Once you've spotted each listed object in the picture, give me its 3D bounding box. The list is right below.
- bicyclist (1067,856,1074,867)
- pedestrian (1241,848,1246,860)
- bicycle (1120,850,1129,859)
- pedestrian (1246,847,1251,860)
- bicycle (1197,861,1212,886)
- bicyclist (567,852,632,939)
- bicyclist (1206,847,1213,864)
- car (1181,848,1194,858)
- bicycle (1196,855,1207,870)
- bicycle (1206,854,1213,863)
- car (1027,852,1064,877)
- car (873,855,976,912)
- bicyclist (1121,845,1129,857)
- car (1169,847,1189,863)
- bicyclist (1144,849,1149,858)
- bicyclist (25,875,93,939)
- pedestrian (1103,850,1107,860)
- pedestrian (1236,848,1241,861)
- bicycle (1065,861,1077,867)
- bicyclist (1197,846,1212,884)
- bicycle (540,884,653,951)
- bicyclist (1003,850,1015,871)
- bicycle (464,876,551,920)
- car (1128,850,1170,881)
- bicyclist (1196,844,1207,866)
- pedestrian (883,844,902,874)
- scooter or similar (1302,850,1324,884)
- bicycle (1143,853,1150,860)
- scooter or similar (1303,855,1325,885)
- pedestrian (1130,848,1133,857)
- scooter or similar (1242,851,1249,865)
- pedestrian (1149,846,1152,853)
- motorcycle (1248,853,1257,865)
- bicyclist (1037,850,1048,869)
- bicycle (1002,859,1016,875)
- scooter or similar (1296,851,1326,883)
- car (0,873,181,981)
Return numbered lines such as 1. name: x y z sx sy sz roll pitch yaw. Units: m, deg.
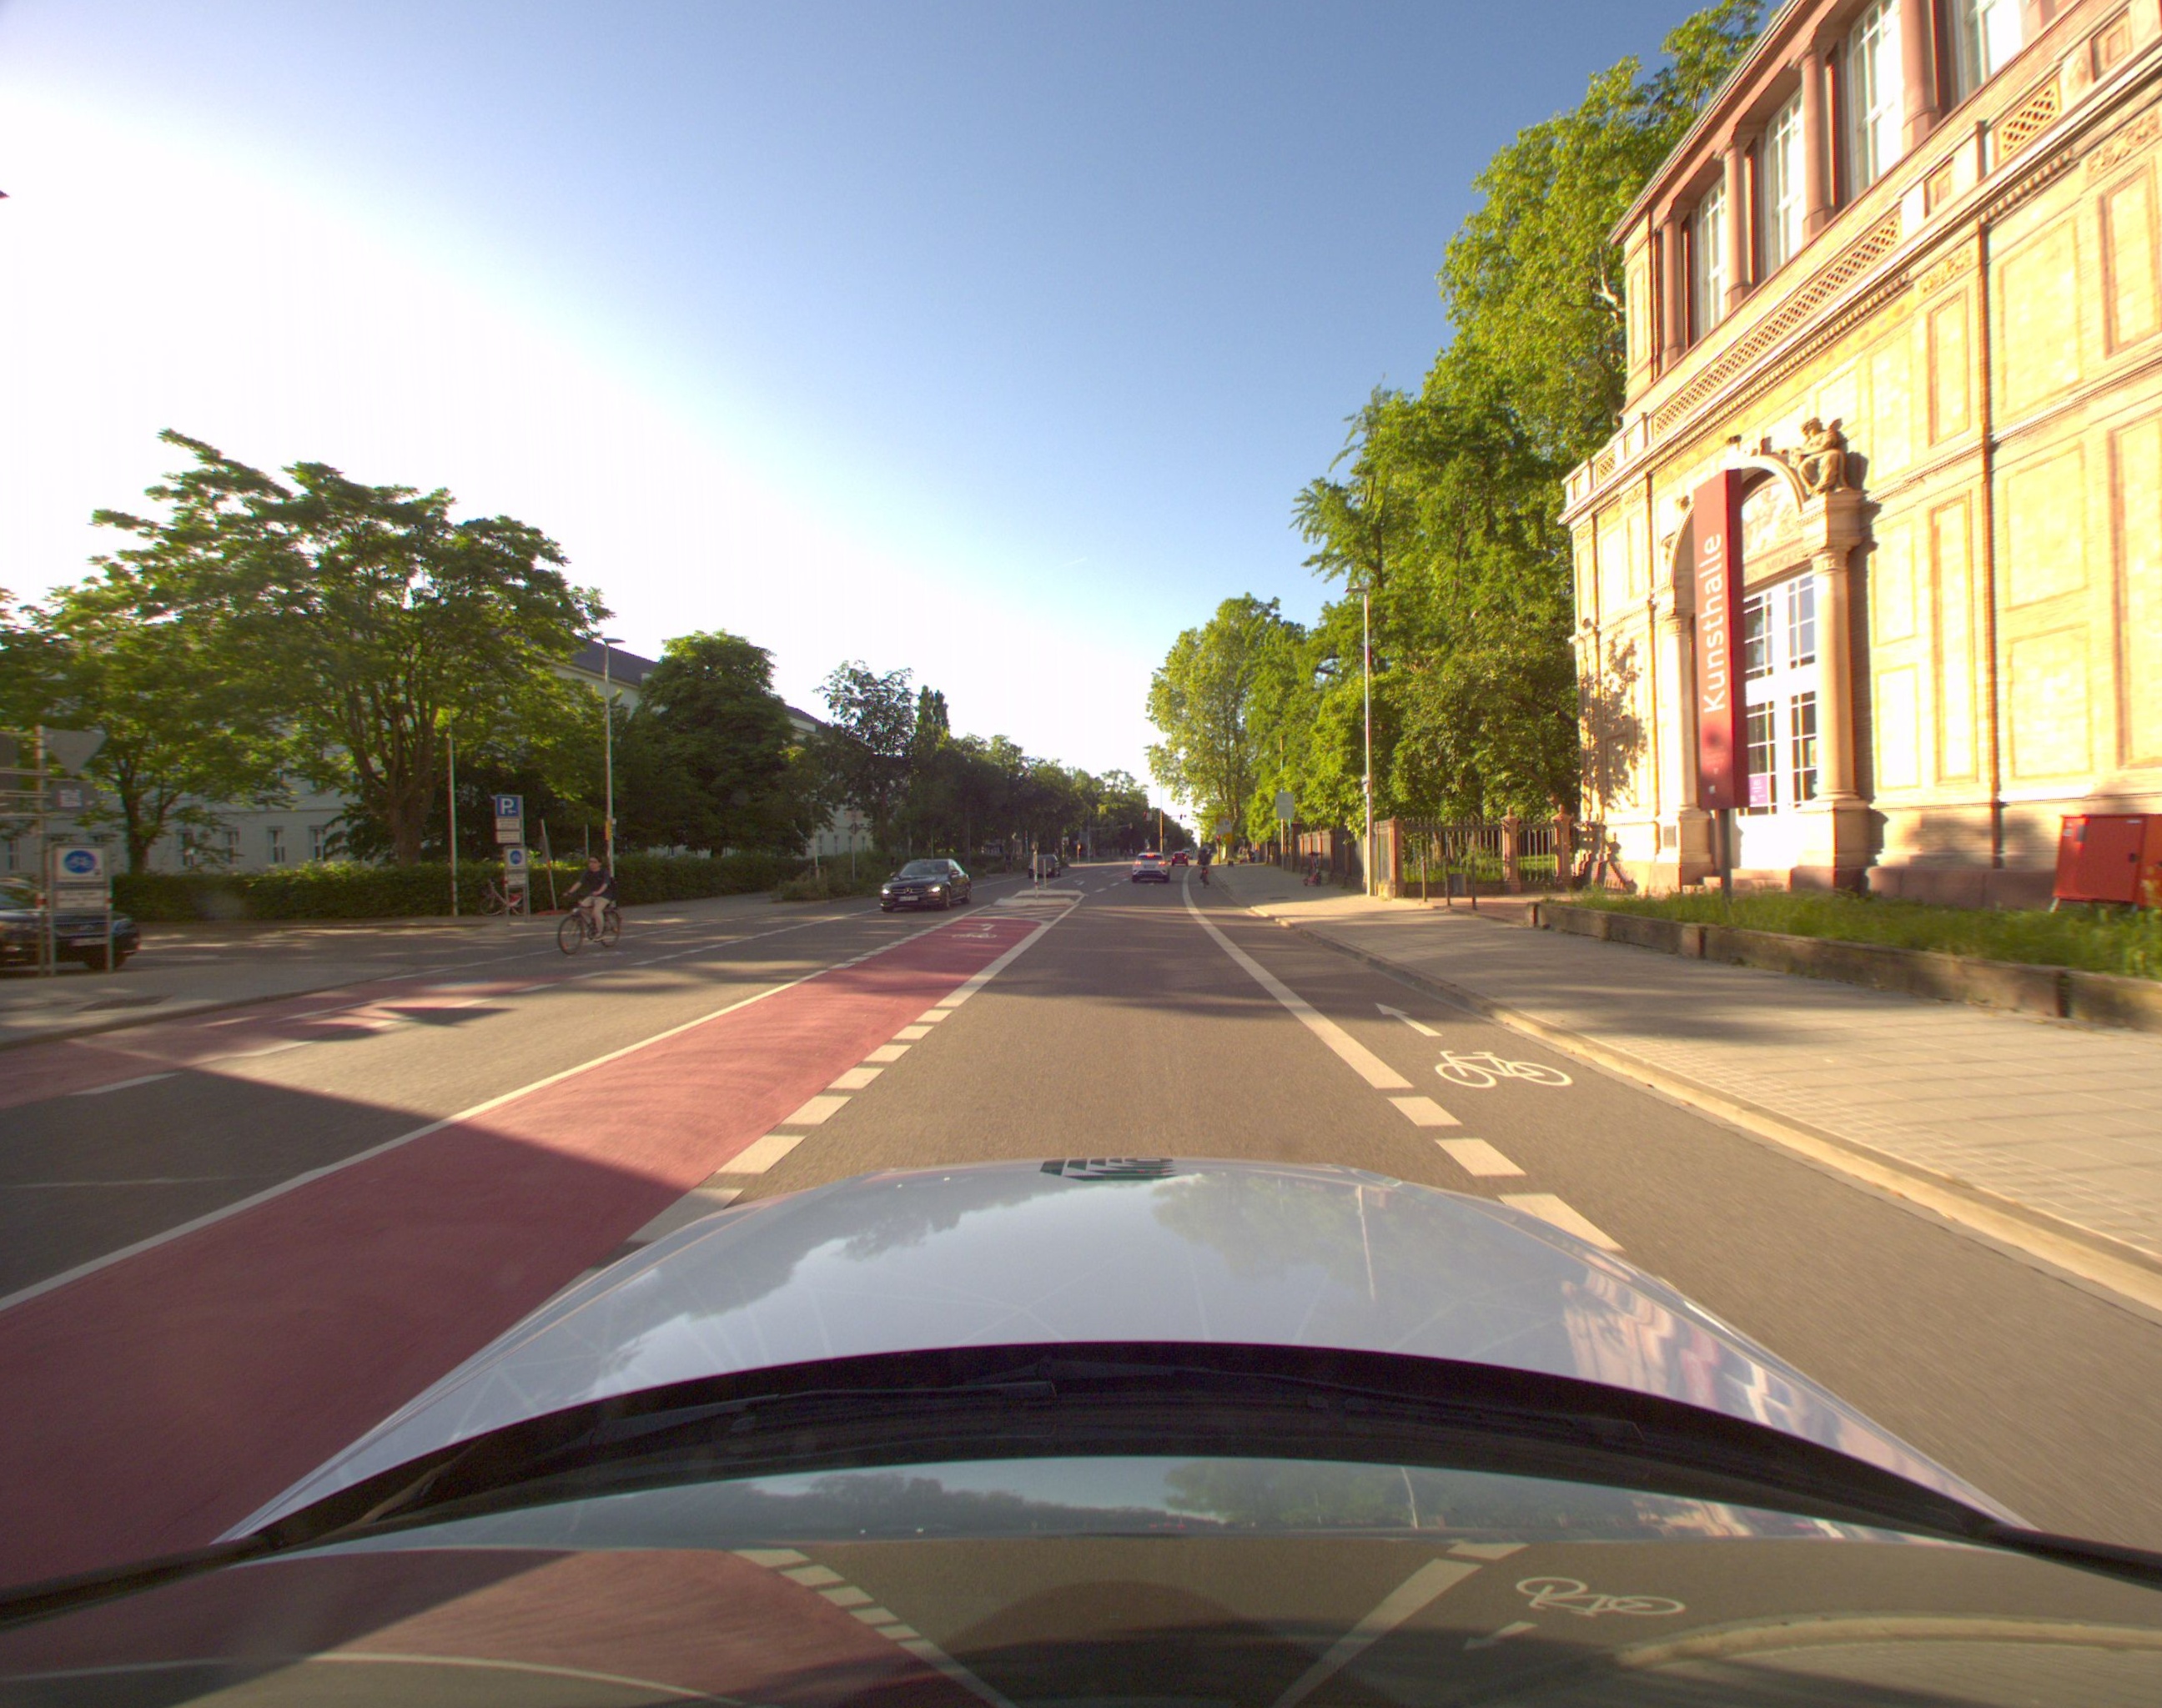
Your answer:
1. bicyclist: -1.613 1.148 124.542 0.915 1.509 0.508 -2 0 15
2. pedestrian: 22.988 0.004 115.246 0.478 1.640 0.433 -5 2 14
3. bicycle: 7.142 0.076 132.566 1.095 1.255 2.787 -2 0 10
4. pedestrian: 23.888 -0.138 115.953 0.478 1.792 0.433 -4 3 14
5. bicycle: 5.396 0.852 35.635 0.639 1.024 2.217 0 0 8
6. bicyclist: -8.667 0.733 14.691 0.653 1.485 0.665 -4 0 2
7. bicyclist: 13.629 0.130 86.518 0.745 1.750 0.845 0 0 8
8. car: 16.290 -0.168 124.579 1.726 1.546 4.011 -2 0 10
9. bicycle: 8.324 0.581 56.292 0.749 1.026 1.873 0 -1 8
10. bicycle: 13.629 0.491 86.550 0.749 1.026 1.873 0 -1 8
11. car: -2.198 0.648 51.094 1.750 1.459 4.005 -2 0 5
12. car: -4.389 0.778 23.570 1.804 1.419 4.559 -2 0 4
13. bicyclist: 7.135 -0.486 132.601 1.085 1.754 1.100 -2 0 10
14. car: 10.259 0.116 85.074 1.918 1.533 4.009 -2 0 8
15. bicyclist: 12.740 -0.021 158.437 0.950 1.705 1.236 -2 0 10
16. bicyclist: -25.217 1.290 20.112 0.662 1.485 0.738 -3 0 -8
17. pedestrian: 4.594 0.272 156.332 0.647 1.888 0.664 -2 0 10
18. pedestrian: 22.273 0.004 115.277 0.478 1.792 0.433 -4 3 14
19. bicycle: -1.574 1.530 124.533 1.753 0.990 0.514 -2 0 15
20. bicyclist: 5.373 0.471 35.517 0.632 1.614 1.287 0 0 8
21. bicycle: -8.634 1.101 14.623 0.649 0.995 2.110 -3 0 2
22. bicyclist: -5.399 0.505 60.980 0.626 1.522 0.726 -4 0 5
23. bicycle: -17.085 1.295 24.265 2.307 1.230 0.561 -2 0 6
24. car: 3.548 0.554 41.882 1.983 1.453 4.008 -2 0 7
25. bicyclist: 8.318 0.065 56.295 0.743 1.537 0.972 -1 0 8
26. pedestrian: -11.984 0.313 51.877 0.851 1.851 1.003 -2 0 6
27. scooter or similar: 8.546 0.468 29.985 0.296 1.240 1.158 -2 0 -8
28. bicycle: 12.773 0.504 158.506 0.958 1.181 2.959 -2 0 10
29. scooter or similar: 8.844 0.596 30.950 0.478 1.122 1.338 -2 0 4
30. pedestrian: 11.004 -0.341 177.016 0.653 2.013 0.833 -2 0 6
31. scooter or similar: 17.209 0.422 85.174 0.563 1.382 1.860 -2 0 7
32. pedestrian: 22.140 -1.510 259.954 0.868 2.149 1.108 -2 0 17
33. motorcycle: 16.508 0.473 78.415 0.658 1.167 2.333 -4 0 8
34. bicyclist: -2.986 0.446 63.773 0.643 1.418 0.972 -4 0 5
35. bicycle: -5.382 0.958 60.892 0.594 1.120 2.030 -5 0 6
36. scooter or similar: 9.259 0.534 32.826 0.547 1.243 1.553 -2 0 -9
37. car: -19.244 1.266 14.417 4.552 1.678 2.064 -2 0 5
